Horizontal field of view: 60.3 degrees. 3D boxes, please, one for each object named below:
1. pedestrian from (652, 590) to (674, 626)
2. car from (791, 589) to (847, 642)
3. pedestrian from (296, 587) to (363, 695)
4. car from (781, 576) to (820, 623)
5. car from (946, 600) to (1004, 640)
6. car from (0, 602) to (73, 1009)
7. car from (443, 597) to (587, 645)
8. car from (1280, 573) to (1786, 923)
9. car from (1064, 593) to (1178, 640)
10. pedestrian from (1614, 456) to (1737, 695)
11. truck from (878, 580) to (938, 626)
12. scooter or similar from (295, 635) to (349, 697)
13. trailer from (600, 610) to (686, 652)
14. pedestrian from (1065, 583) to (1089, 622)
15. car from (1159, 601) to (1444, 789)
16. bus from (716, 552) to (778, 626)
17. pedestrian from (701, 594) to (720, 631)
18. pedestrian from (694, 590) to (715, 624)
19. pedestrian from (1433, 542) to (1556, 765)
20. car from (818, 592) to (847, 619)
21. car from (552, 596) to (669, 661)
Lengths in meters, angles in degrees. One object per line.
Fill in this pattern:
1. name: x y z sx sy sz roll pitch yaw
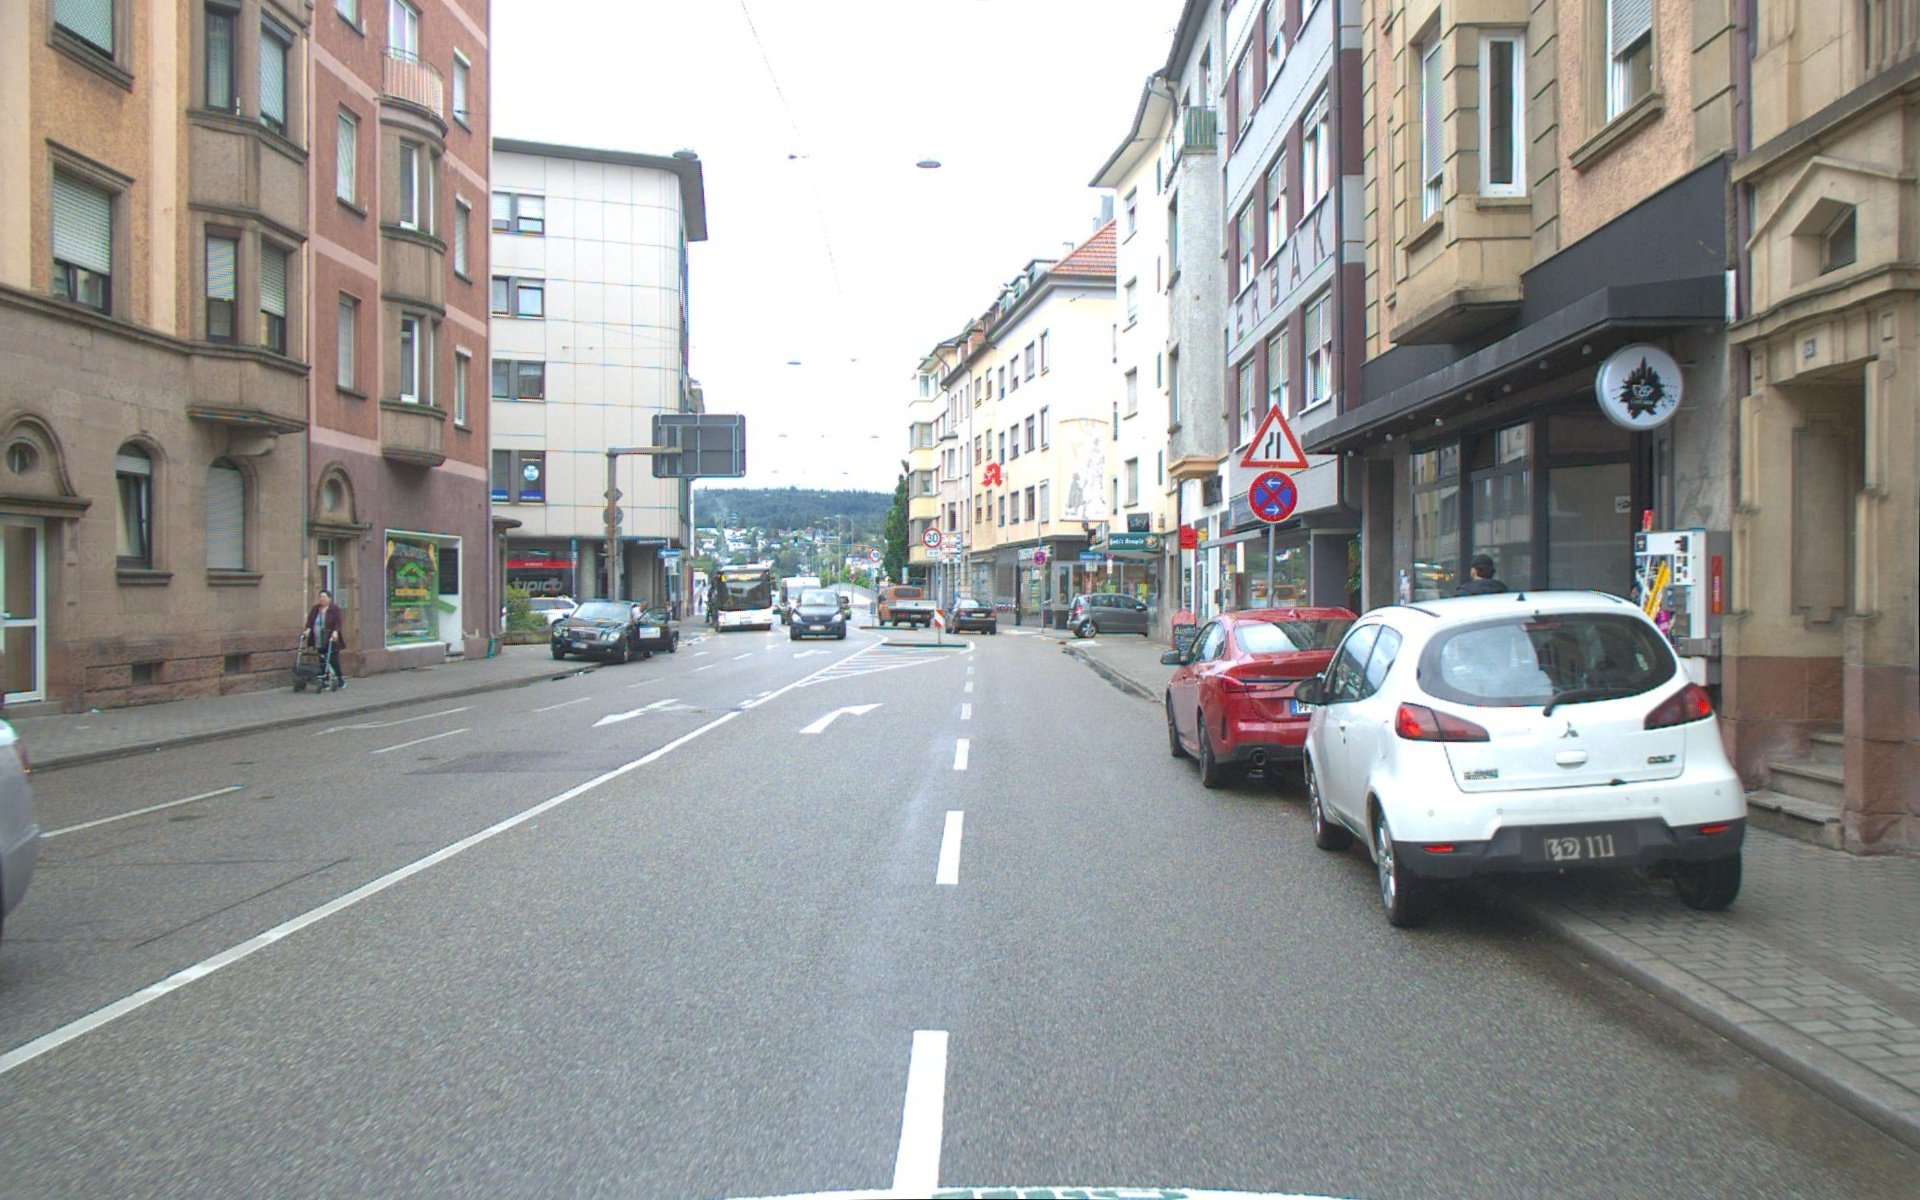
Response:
1. pedestrian: -13.914 0.374 77.396 0.927 1.617 0.833 -1 -1 -6
2. car: -4.743 0.523 55.226 1.721 1.680 4.300 -1 0 -7
3. pedestrian: -10.202 0.663 26.797 0.827 1.708 0.851 2 -1 -12
4. car: -8.778 -0.005 90.688 2.046 2.478 6.344 -1 0 -6
5. car: 0.553 0.787 65.365 1.721 1.505 3.993 -1 0 -8
6. car: -4.491 0.761 4.292 1.903 1.496 4.559 -1 0 0
7. car: -15.543 0.716 57.833 4.575 1.559 1.888 -1 0 -28
8. car: 2.939 0.665 9.484 1.613 1.520 4.450 -1 0 4
9. car: 5.757 0.591 59.472 3.751 1.601 1.934 -1 0 -6
10. pedestrian: 5.905 -0.198 13.683 0.689 1.927 0.649 -1 -1 -2
11. truck: -2.601 0.158 80.903 2.355 2.167 5.305 -1 0 -8
12. scooter or similar: -10.102 1.041 26.185 0.699 0.941 0.479 2 -1 -12
13. trailer: -8.540 0.811 44.771 1.555 0.965 3.057 4 0 2
14. pedestrian: 4.821 0.101 68.249 0.754 1.587 0.874 -1 -1 -10
15. car: 2.920 0.739 15.033 1.708 1.393 4.315 -1 1 0
16. bus: -10.075 -0.467 78.042 2.707 3.244 8.895 -1 0 -8
17. pedestrian: -12.053 0.601 79.880 0.860 1.721 0.886 -1 -1 -11
18. pedestrian: -13.392 0.364 86.675 0.980 1.713 1.264 -1 -1 -6
19. pedestrian: 4.486 0.436 13.928 0.729 1.810 0.795 -1 -1 -2
20. car: -8.457 0.375 109.487 1.721 1.680 3.993 -1 0 -8
21. car: -8.538 0.662 40.786 1.812 1.422 4.792 2 0 0
